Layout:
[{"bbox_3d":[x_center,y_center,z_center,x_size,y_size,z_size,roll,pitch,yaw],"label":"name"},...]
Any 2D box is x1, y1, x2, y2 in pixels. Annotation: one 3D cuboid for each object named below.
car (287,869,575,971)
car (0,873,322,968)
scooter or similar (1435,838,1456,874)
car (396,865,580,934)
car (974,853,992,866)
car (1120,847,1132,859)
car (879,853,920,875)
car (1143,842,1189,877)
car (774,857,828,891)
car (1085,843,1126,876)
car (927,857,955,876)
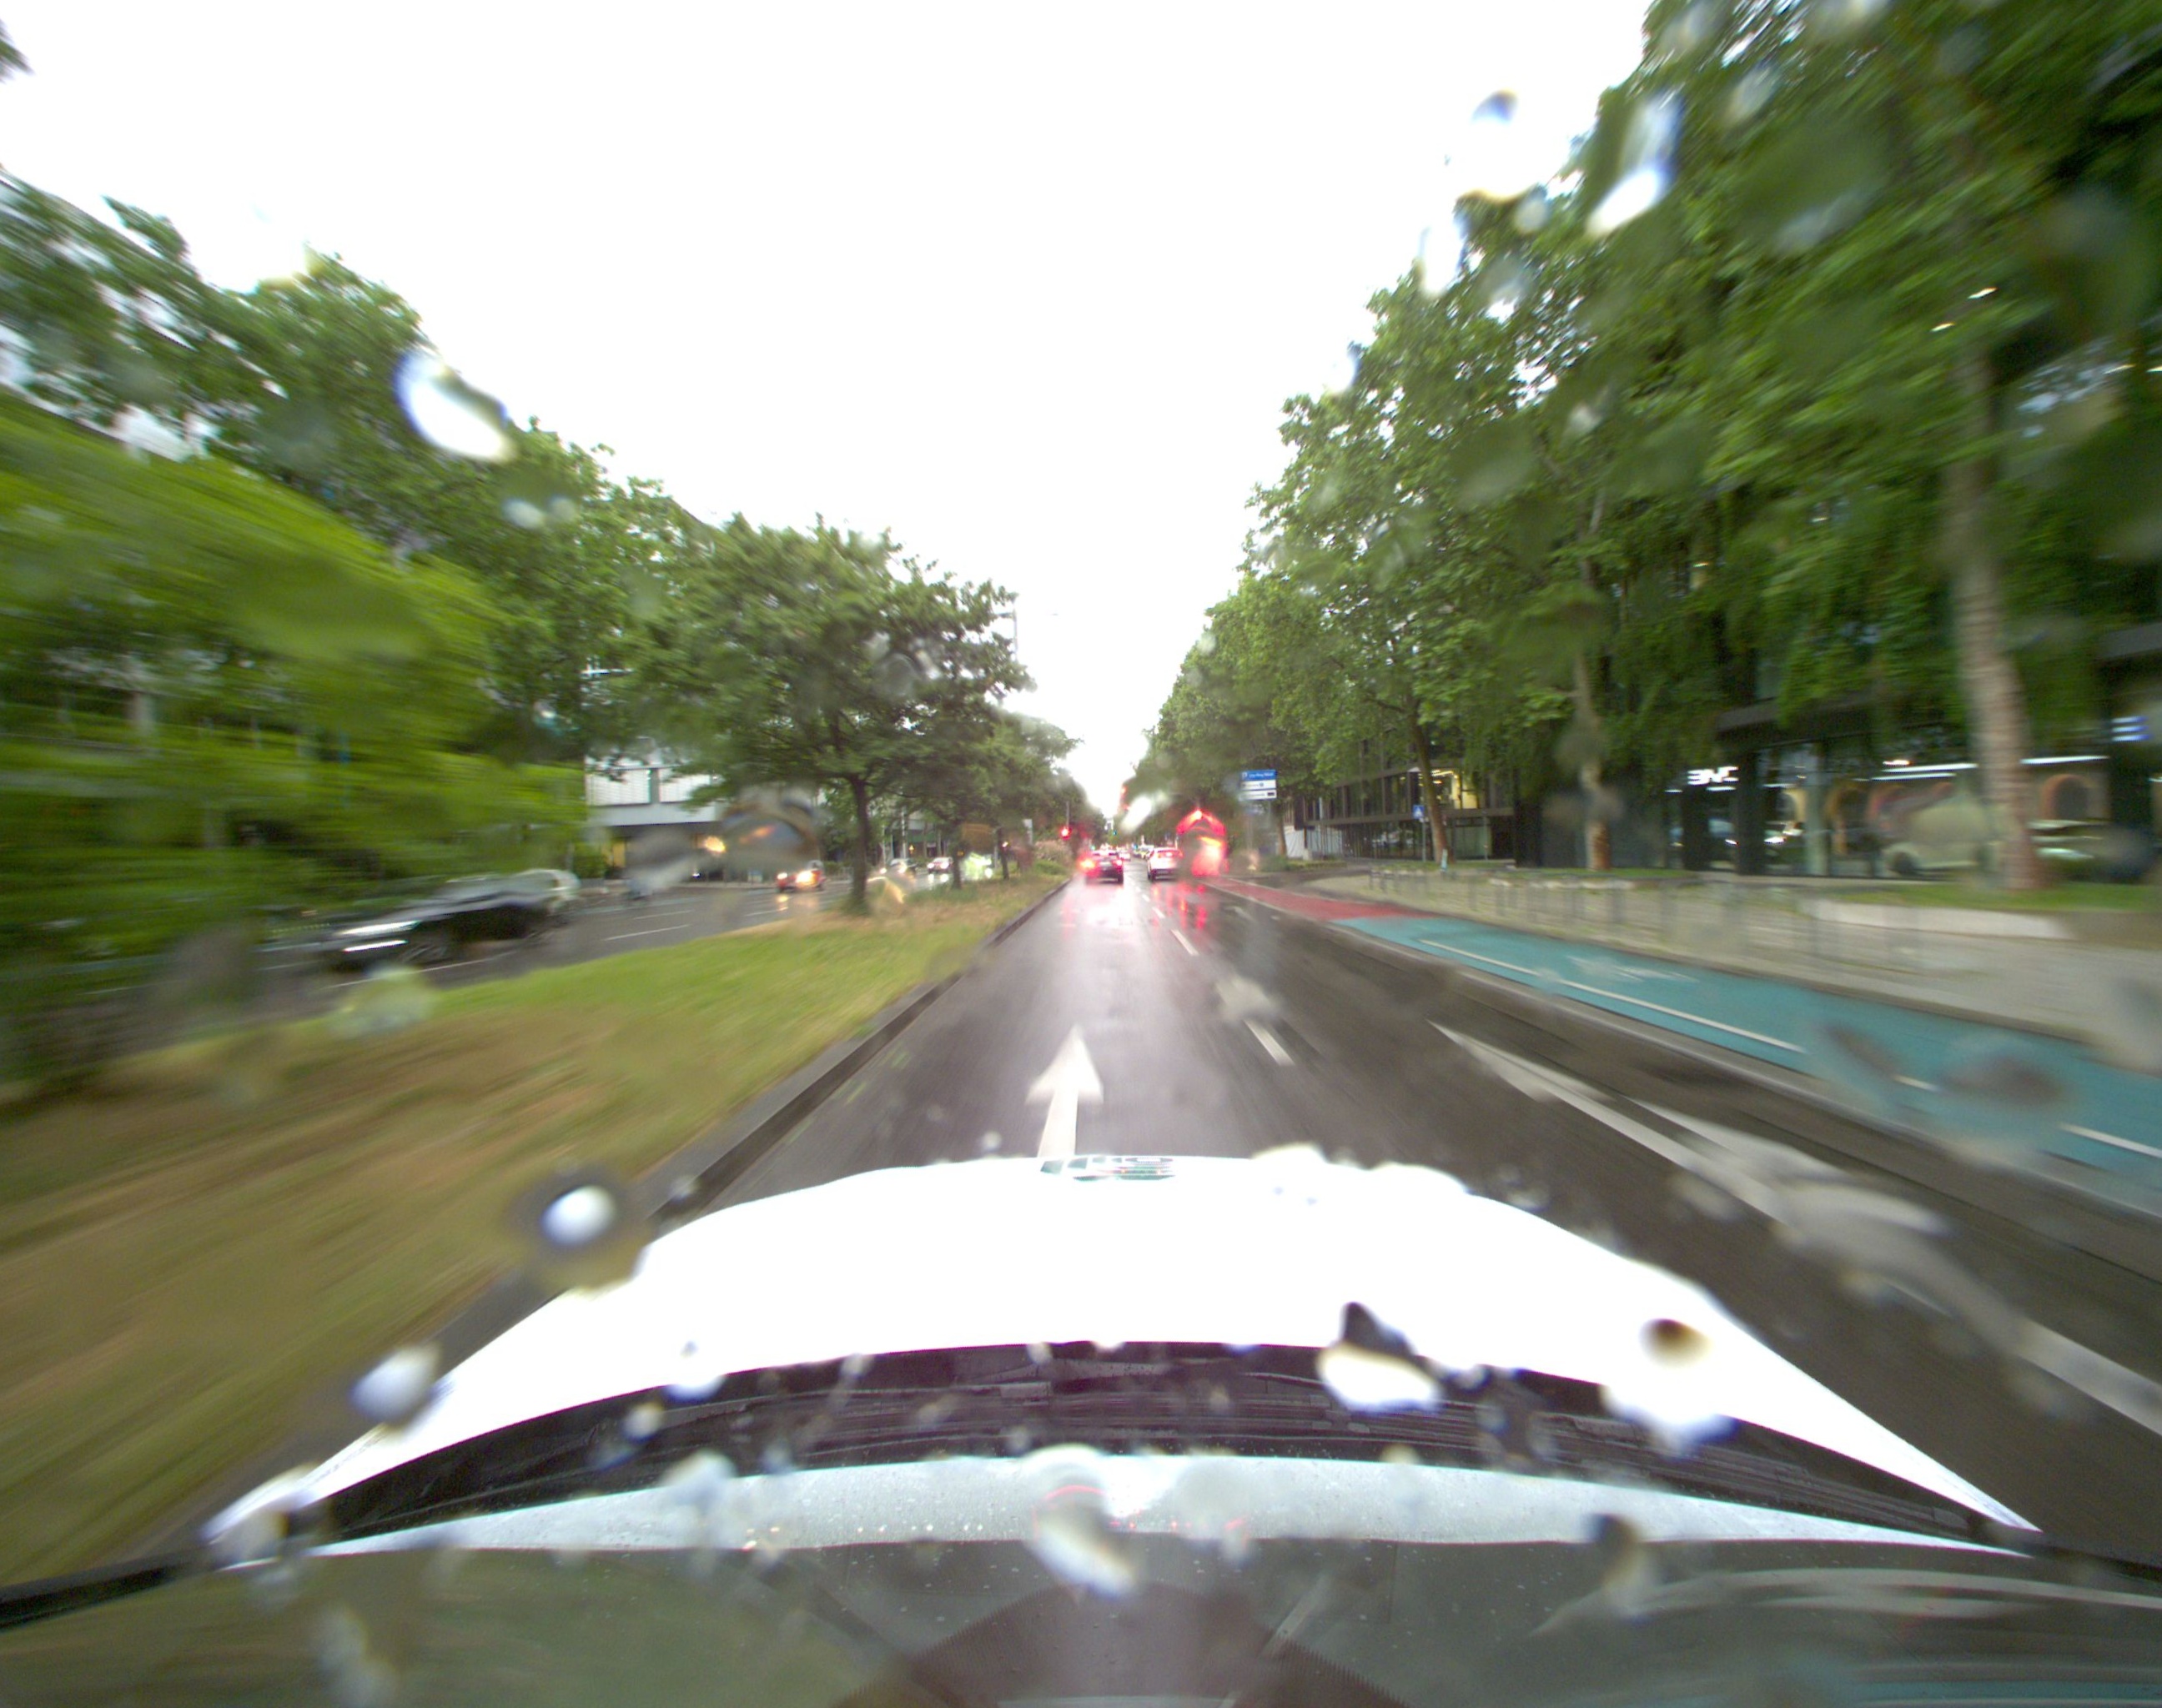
[{"bbox_3d":[-11.288,1.059,14.592,1.742,1.476,4.098,-1,0,2],"label":"car"},{"bbox_3d":[-18.631,1.216,16.534,1.687,1.409,4.906,-2,1,1],"label":"car"},{"bbox_3d":[12.852,0.062,28.702,0.377,1.228,1.086,-2,1,37],"label":"scooter or similar"},{"bbox_3d":[-14.653,1.062,20.416,1.837,1.429,3.644,-2,0,1],"label":"car"},{"bbox_3d":[-11.189,0.634,93.160,1.608,1.394,3.598,-1,-2,1],"label":"car"},{"bbox_3d":[6.716,-0.154,122.067,1.614,1.666,4.001,-3,1,1],"label":"car"},{"bbox_3d":[-12.551,0.682,56.660,1.837,1.389,4.001,-2,0,1],"label":"car"},{"bbox_3d":[4.380,0.246,42.799,1.986,1.655,4.890,-2,1,1],"label":"car"},{"bbox_3d":[-13.498,0.950,39.352,1.488,1.463,2.734,-2,1,3],"label":"car"},{"bbox_3d":[1.206,0.248,40.410,1.911,1.491,4.001,-2,0,1],"label":"car"},{"bbox_3d":[-12.189,1.072,71.298,1.608,1.394,4.186,-2,1,1],"label":"car"}]
